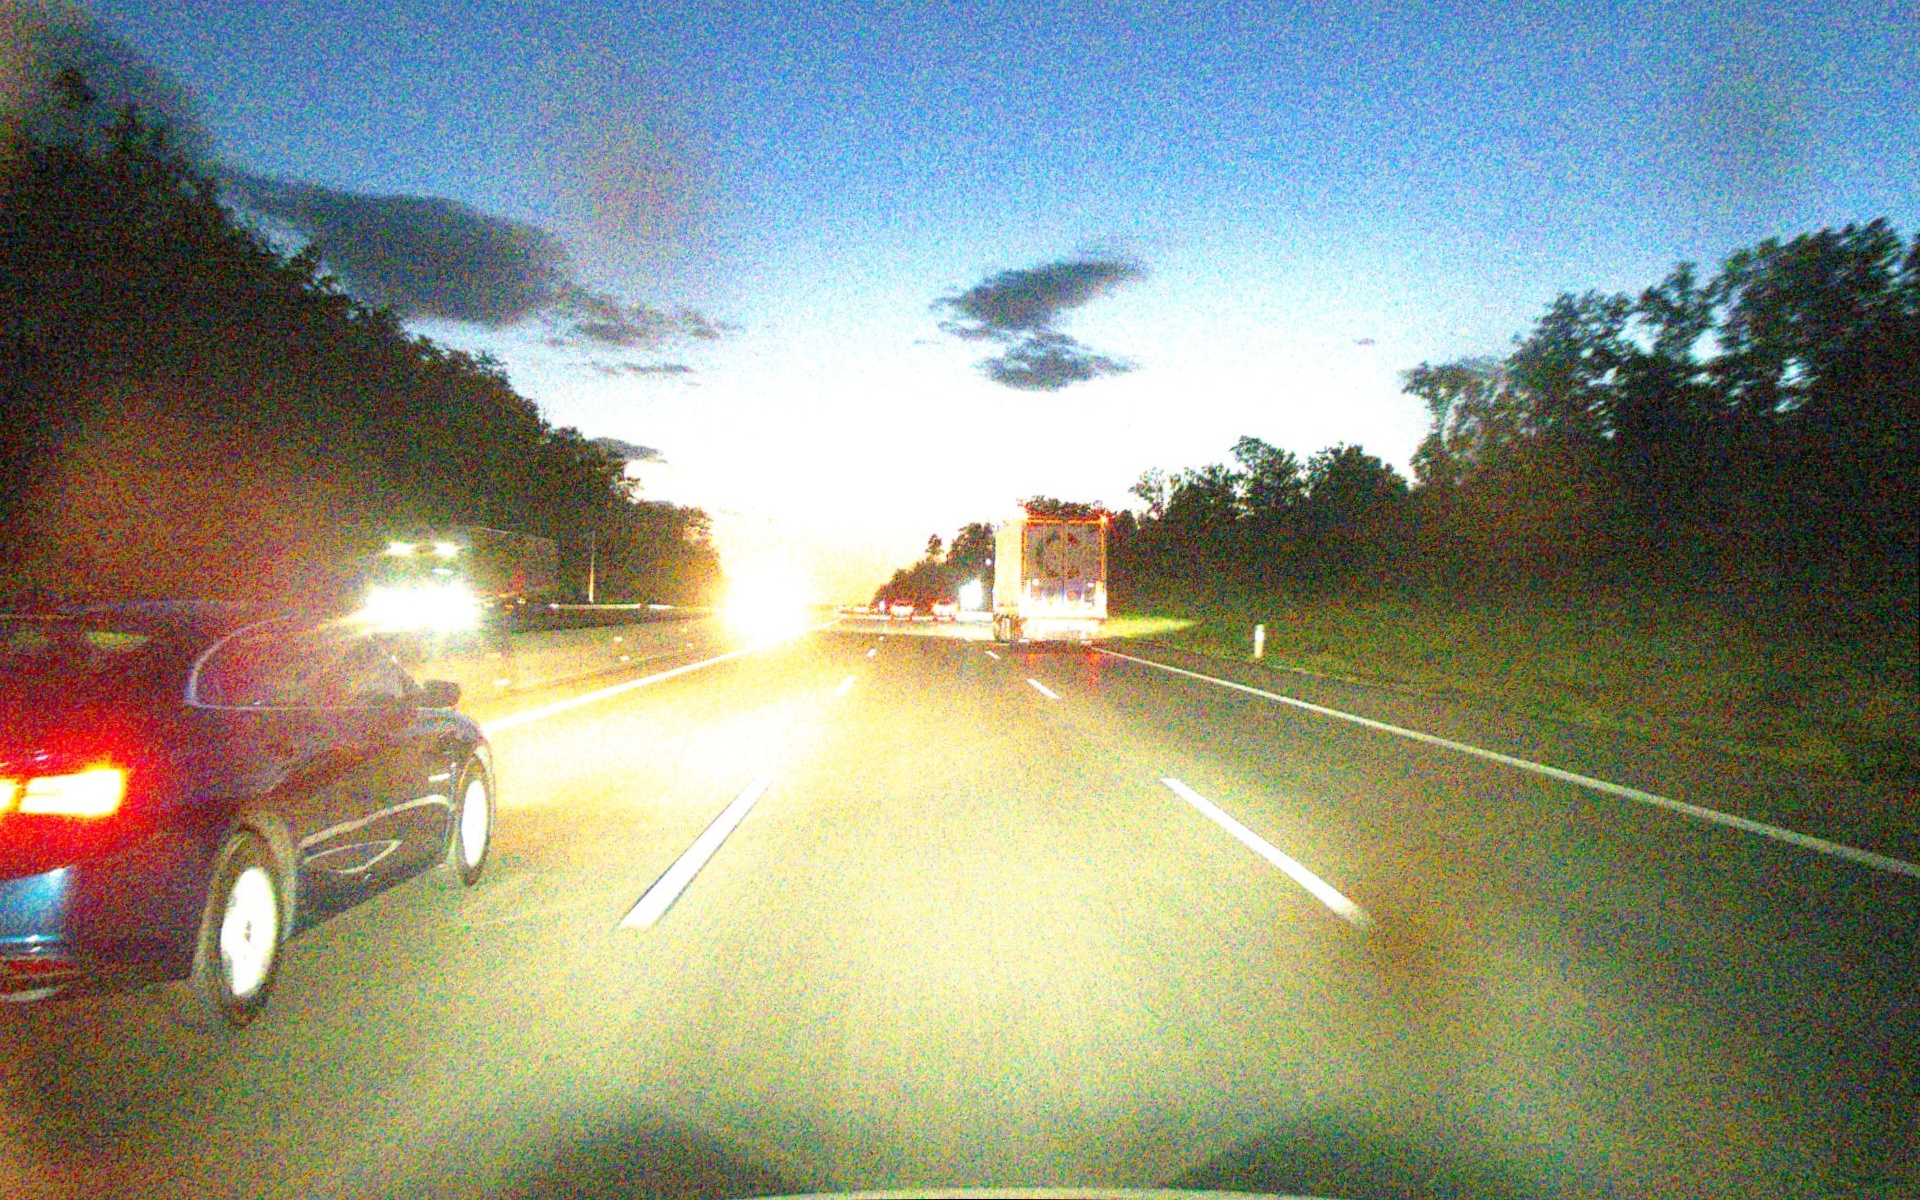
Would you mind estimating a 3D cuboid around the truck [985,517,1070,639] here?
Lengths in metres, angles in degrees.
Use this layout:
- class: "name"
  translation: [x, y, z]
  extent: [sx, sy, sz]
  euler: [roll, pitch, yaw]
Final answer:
- class: "truck"
  translation: [2.479, -0.782, 62.670]
  extent: [2.772, 4.331, 6.260]
  euler: [1, 0, -2]

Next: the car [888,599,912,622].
- class: "car"
  translation: [-5.083, 0.901, 139.424]
  extent: [1.954, 1.825, 3.997]
  euler: [1, -1, -3]

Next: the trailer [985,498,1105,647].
- class: "trailer"
  translation: [2.625, -0.794, 57.253]
  extent: [2.772, 4.331, 17.043]
  euler: [1, 0, -2]

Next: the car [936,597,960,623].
- class: "car"
  translation: [-1.055, 0.884, 141.889]
  extent: [1.953, 2.154, 3.998]
  euler: [1, -1, -2]

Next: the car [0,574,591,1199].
- class: "car"
  translation: [-3.235, 0.702, 7.023]
  extent: [1.952, 1.545, 5.652]
  euler: [1, 1, 1]

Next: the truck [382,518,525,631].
- class: "truck"
  translation: [-20.332, -0.944, 67.196]
  extent: [2.802, 4.143, 10.630]
  euler: [1, 0, -2]

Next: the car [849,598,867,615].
- class: "car"
  translation: [-11.995, 0.774, 194.181]
  extent: [1.953, 1.825, 3.998]
  euler: [1, -1, -2]

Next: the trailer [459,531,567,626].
- class: "trailer"
  translation: [-20.664, -0.939, 76.970]
  extent: [2.802, 4.143, 8.867]
  euler: [1, 0, -2]
